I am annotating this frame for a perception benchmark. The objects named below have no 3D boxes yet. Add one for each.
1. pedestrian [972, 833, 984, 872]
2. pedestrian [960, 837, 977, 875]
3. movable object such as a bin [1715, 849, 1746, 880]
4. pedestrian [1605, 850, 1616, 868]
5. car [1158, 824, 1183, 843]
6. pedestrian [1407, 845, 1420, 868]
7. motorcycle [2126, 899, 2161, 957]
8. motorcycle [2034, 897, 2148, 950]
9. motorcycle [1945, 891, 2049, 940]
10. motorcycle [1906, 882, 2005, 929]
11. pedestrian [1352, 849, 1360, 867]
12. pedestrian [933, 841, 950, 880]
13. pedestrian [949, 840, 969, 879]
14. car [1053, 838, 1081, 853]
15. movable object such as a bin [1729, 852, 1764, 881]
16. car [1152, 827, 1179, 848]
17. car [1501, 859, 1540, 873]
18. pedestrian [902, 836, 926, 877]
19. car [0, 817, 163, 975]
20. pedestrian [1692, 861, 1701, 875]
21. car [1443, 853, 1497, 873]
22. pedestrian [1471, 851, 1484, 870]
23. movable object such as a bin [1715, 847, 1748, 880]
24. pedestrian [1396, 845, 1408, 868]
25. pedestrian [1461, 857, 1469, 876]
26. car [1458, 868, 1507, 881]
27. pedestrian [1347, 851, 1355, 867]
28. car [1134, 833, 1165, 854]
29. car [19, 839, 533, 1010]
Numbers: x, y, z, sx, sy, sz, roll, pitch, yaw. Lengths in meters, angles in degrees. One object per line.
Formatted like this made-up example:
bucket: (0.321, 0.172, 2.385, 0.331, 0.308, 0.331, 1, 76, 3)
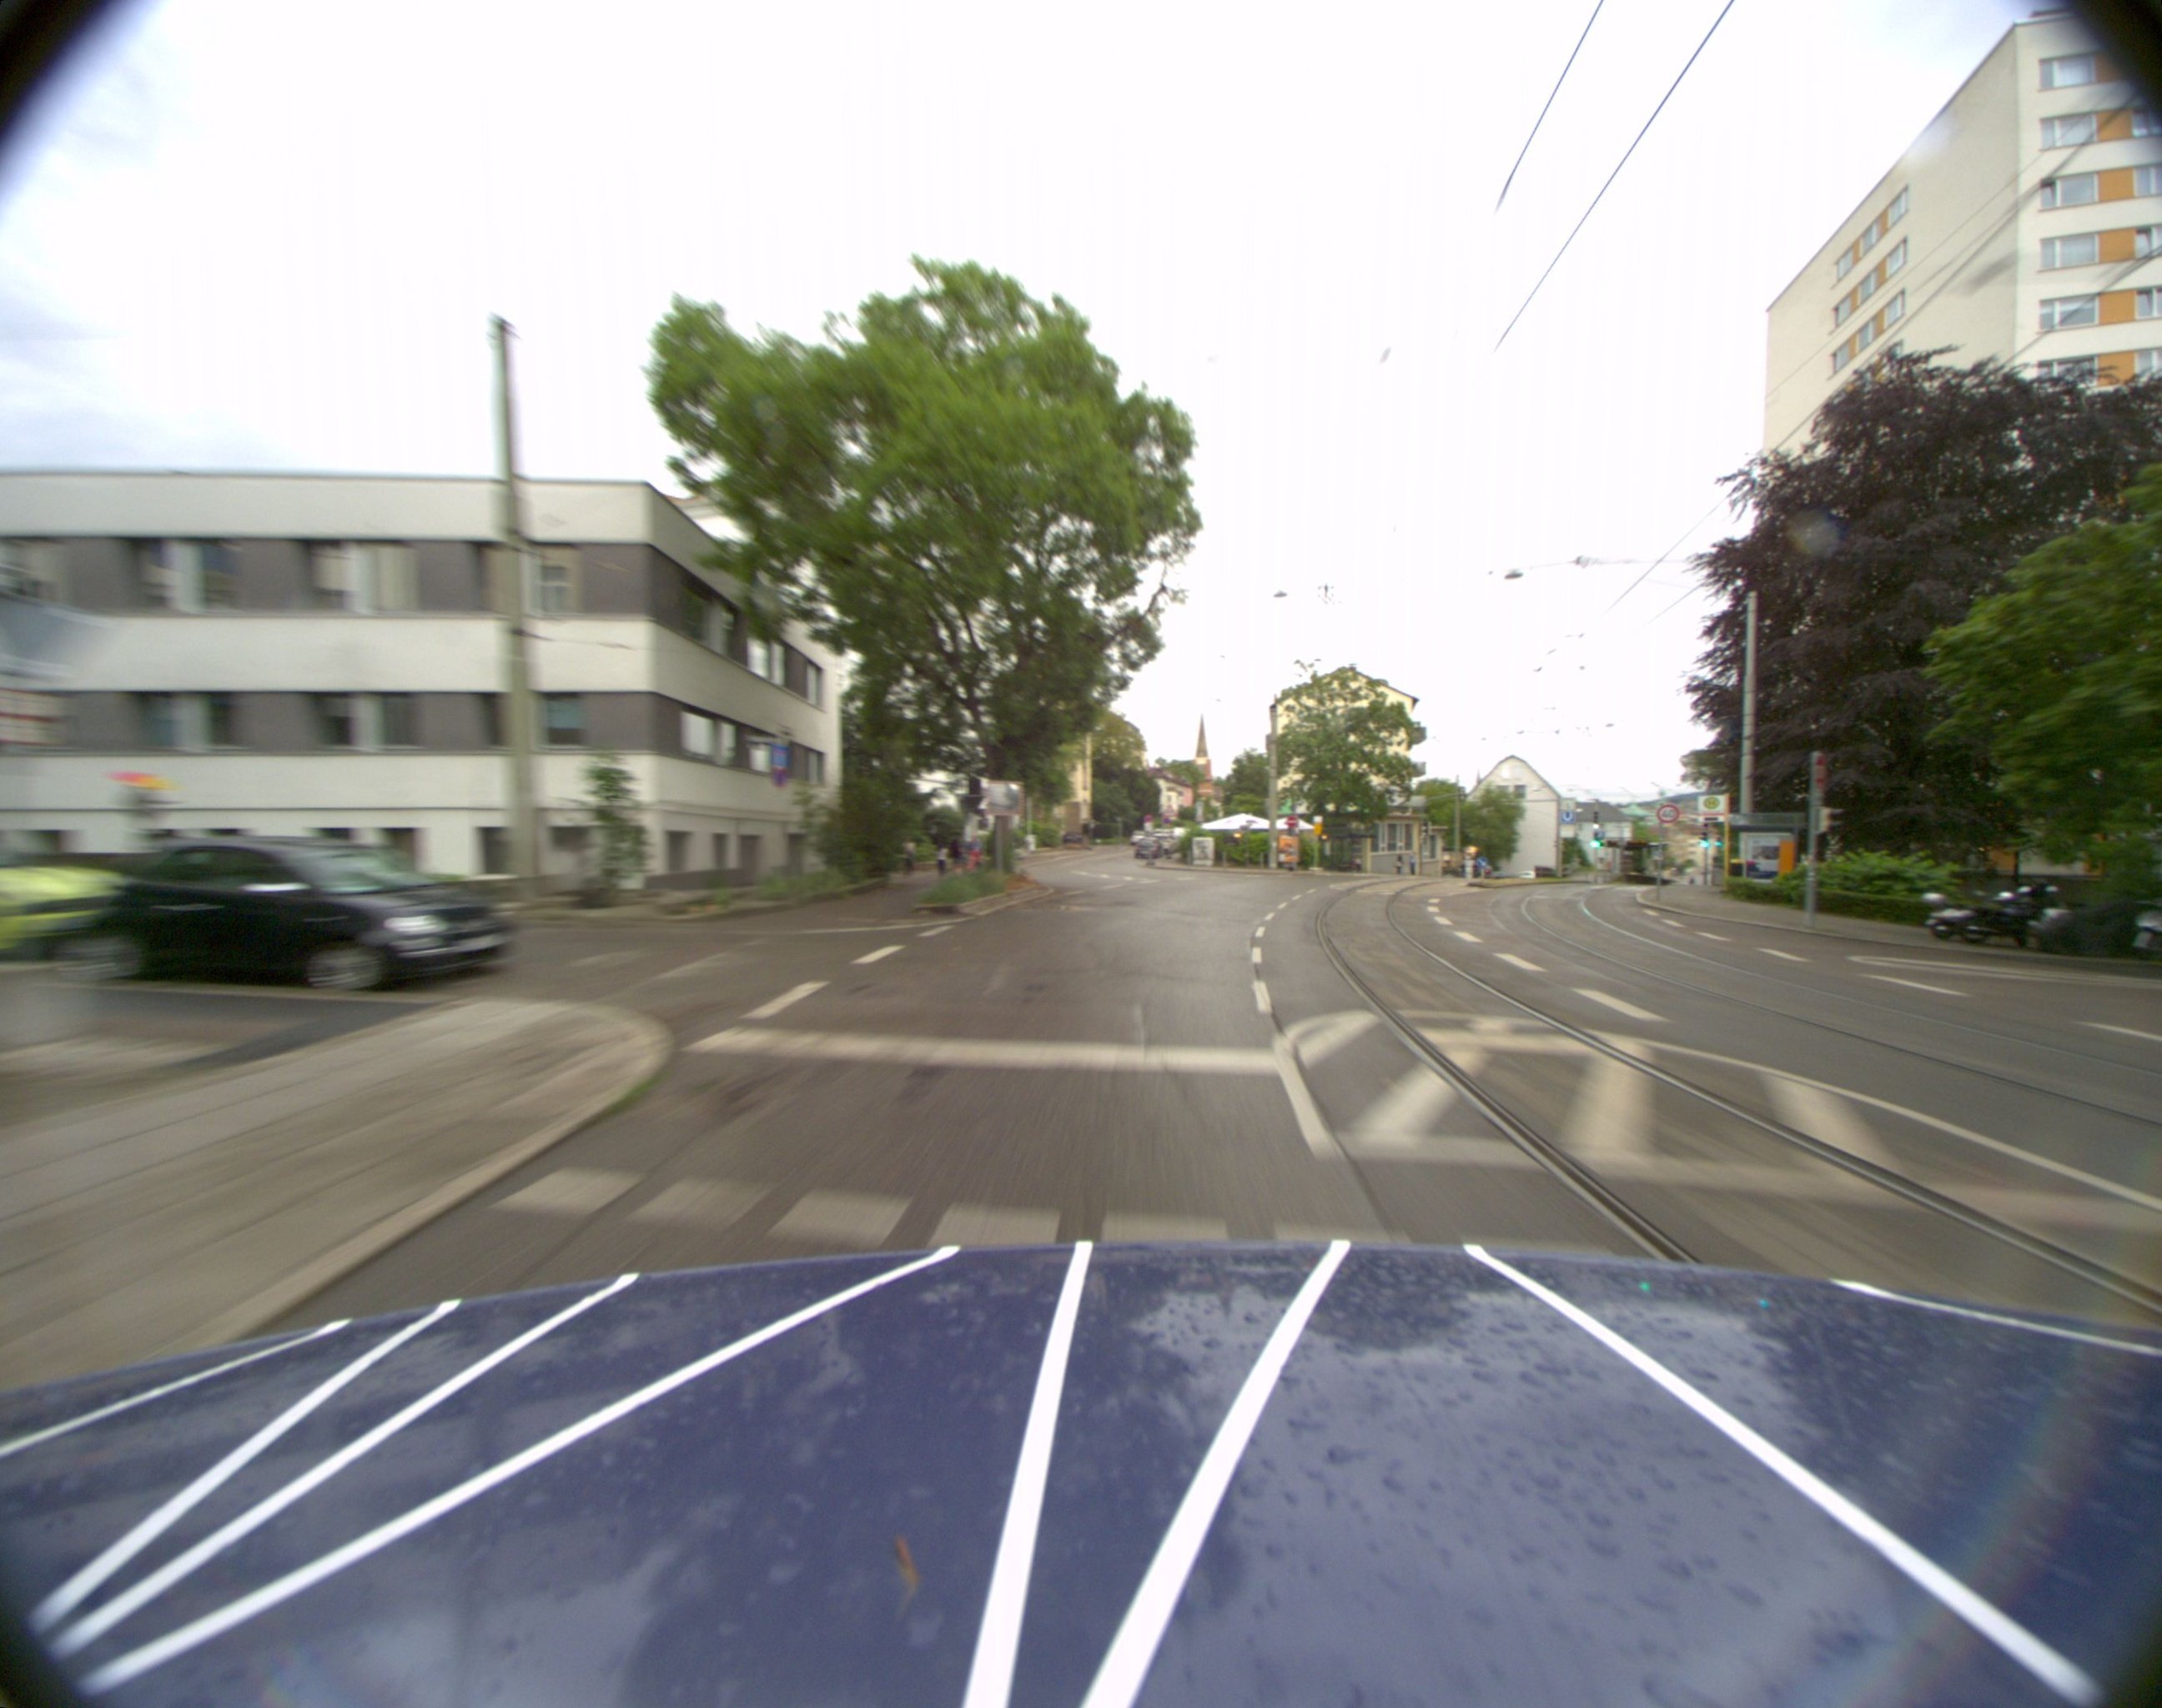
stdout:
pedestrian: (-5.208, -0.084, 38.607, 0.543, 1.913, 0.916, 0, 3, -4)
pedestrian: (-4.842, 0.100, 32.651, 0.545, 1.619, 0.602, 0, -1, 9)
movable object such as a bin: (30.114, 0.497, 35.217, 1.021, 1.425, 1.447, -1, -1, 44)
pedestrian: (46.624, 0.419, 66.890, 0.671, 1.539, 0.773, 2, 0, 41)
car: (7.971, -1.808, 67.164, 1.690, 1.680, 3.807, 1, 2, 14)
pedestrian: (23.139, 0.196, 52.918, 0.588, 1.545, 0.651, 4, 2, 41)
motorcycle: (20.839, 1.378, 14.302, 2.124, 1.042, 0.485, 1, -1, -10)
motorcycle: (20.593, 1.402, 15.493, 2.124, 1.042, 0.485, 1, -1, -10)
motorcycle: (20.288, 1.355, 16.837, 2.124, 1.042, 0.485, 1, -1, -10)
motorcycle: (20.247, 1.175, 17.594, 2.124, 1.042, 0.485, 1, 0, -10)
pedestrian: (17.535, 0.264, 48.445, 0.325, 1.144, 0.318, 5, 2, 38)
pedestrian: (-5.547, 0.251, 30.170, 0.537, 1.498, 0.386, 3, 3, 35)
pedestrian: (-4.884, 0.233, 30.447, 0.600, 1.556, 0.547, 0, -1, 32)
car: (-1.308, -0.818, 72.869, 1.597, 1.333, 3.640, 0, -1, 17)
movable object such as a bin: (26.887, 0.516, 30.686, 1.021, 1.131, 1.346, -1, -2, 44)
car: (6.995, -1.381, 62.527, 1.690, 1.680, 3.807, 1, 2, 14)
car: (54.943, 1.495, 94.990, 3.988, 1.459, 1.819, 1, 6, 37)
pedestrian: (-7.035, 0.121, 32.062, 0.744, 1.689, 0.673, 4, -1, 4)
car: (-12.369, 0.350, 7.850, 3.668, 1.499, 1.737, 2, 2, 0)
pedestrian: (72.482, 1.620, 89.478, 0.753, 1.584, 0.619, -1, -1, 44)
car: (38.635, 0.886, 75.594, 4.328, 1.664, 1.785, 5, 2, 44)
pedestrian: (35.841, 0.569, 68.655, 0.610, 1.704, 0.719, 2, 2, -39)
movable object such as a bin: (28.970, 0.443, 33.845, 1.021, 1.425, 1.430, -1, -1, 44)
pedestrian: (22.526, 0.165, 53.377, 0.545, 1.545, 0.560, 4, 2, 40)
pedestrian: (33.609, 1.113, 66.509, 0.579, 1.703, 0.615, 0, -1, 38)
car: (48.859, 2.481, 92.511, 4.933, 1.428, 1.979, -1, -1, 43)
pedestrian: (17.184, 0.333, 48.278, 0.325, 0.989, 0.318, 5, 2, 38)
car: (5.068, -0.804, 55.581, 1.690, 1.434, 3.807, 1, 2, 14)
car: (-8.352, 0.661, 8.154, 3.668, 1.499, 1.737, 2, 2, 0)
